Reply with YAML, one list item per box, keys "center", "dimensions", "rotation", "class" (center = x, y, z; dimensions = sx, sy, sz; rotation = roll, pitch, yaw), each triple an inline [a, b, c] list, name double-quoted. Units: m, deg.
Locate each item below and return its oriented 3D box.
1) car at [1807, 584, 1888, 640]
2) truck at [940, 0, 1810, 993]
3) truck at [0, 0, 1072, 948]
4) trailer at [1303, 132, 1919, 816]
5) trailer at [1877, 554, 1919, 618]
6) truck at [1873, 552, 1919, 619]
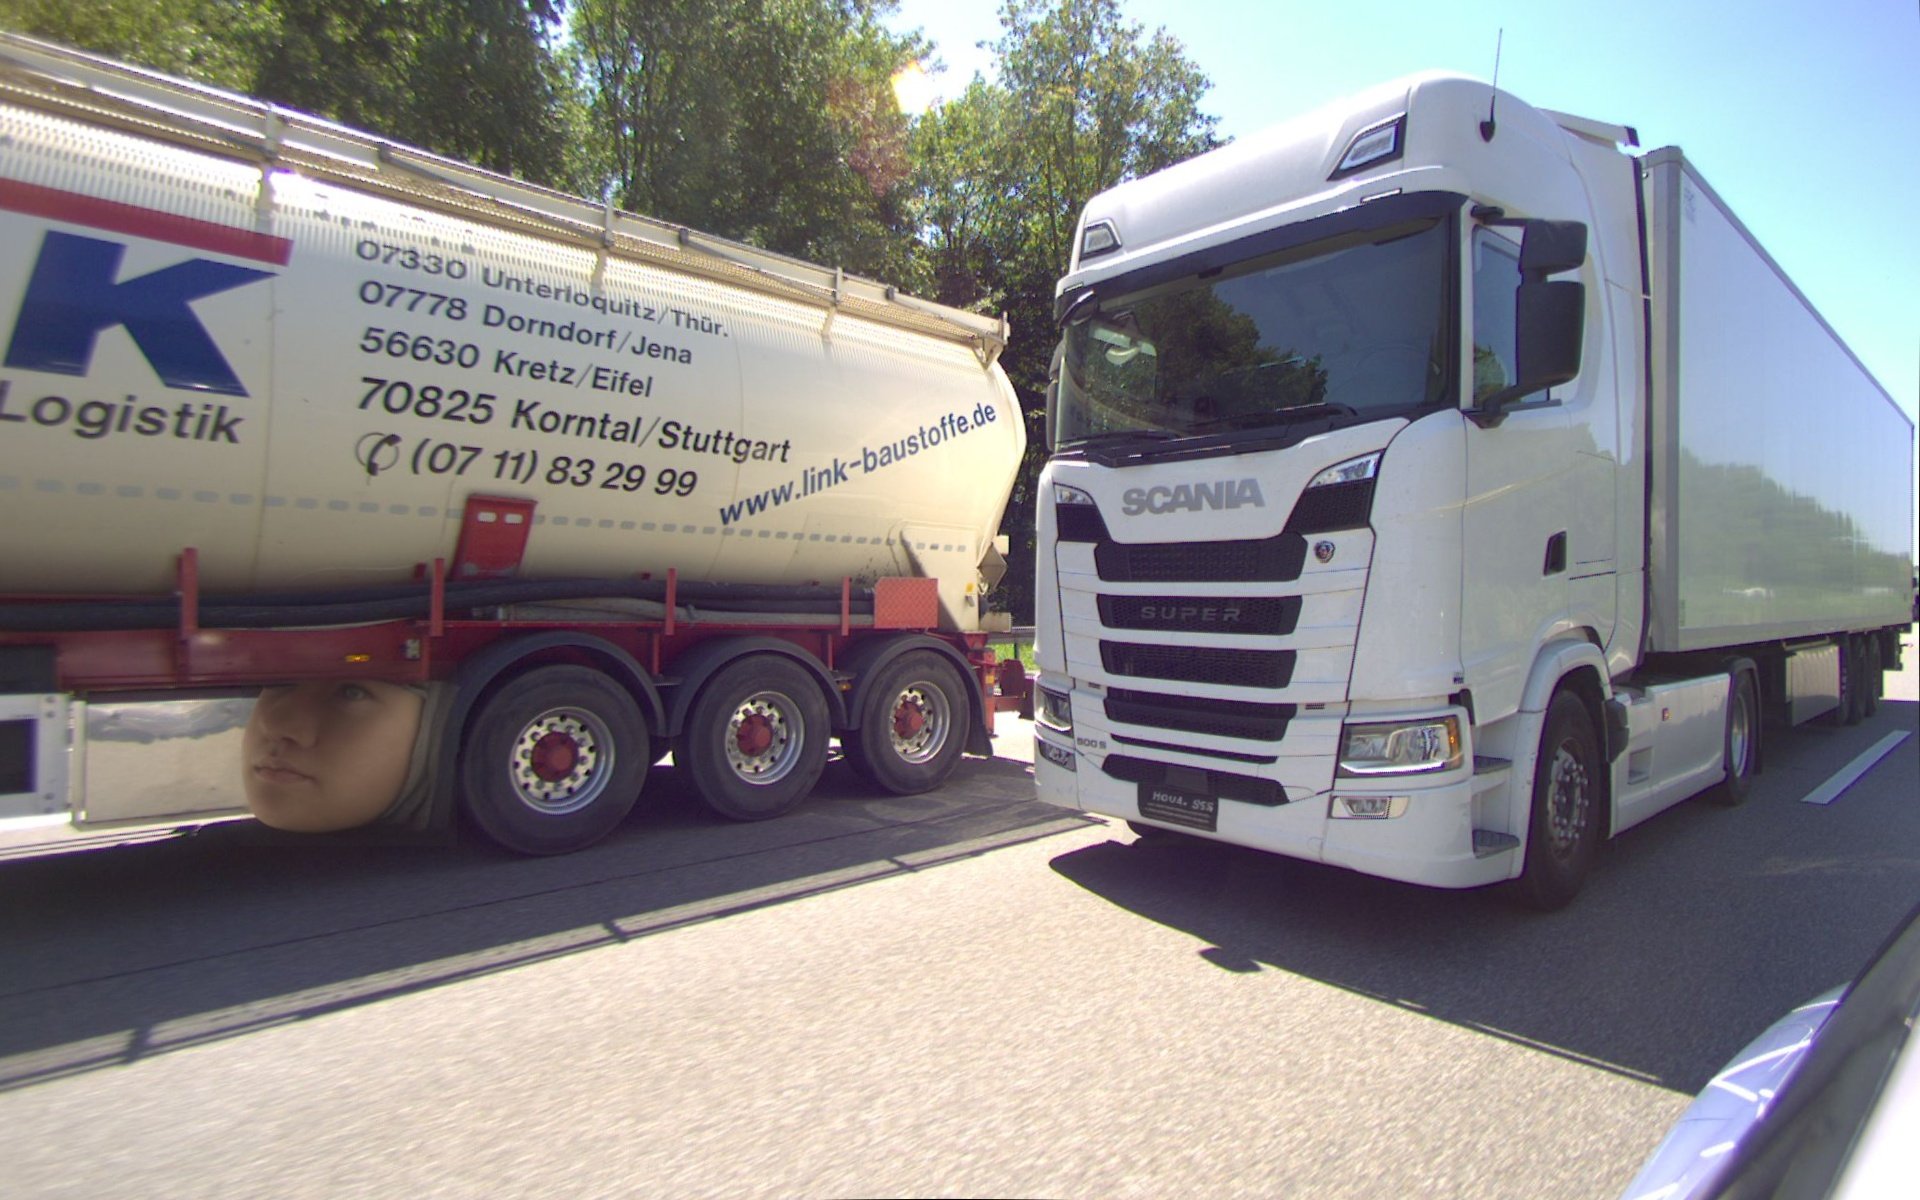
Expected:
- center: [34.181, 0.420, 38.942]
  dimensions: [5.429, 2.028, 1.857]
  rotation: [0, 0, -43]
  class: "car"
- center: [2.640, -0.814, 6.135]
  dimensions: [4.481, 4.210, 3.234]
  rotation: [0, 1, -42]
  class: "truck"
- center: [-3.811, -0.696, 5.572]
  dimensions: [10.357, 4.094, 2.447]
  rotation: [0, 0, -41]
  class: "truck"
- center: [8.508, -0.805, 11.512]
  dimensions: [12.140, 4.195, 3.228]
  rotation: [0, 1, -42]
  class: "trailer"
- center: [67.145, -0.939, 71.428]
  dimensions: [12.149, 4.257, 2.792]
  rotation: [0, 1, -44]
  class: "trailer"
- center: [61.972, -0.938, 66.340]
  dimensions: [4.918, 4.257, 2.792]
  rotation: [0, 1, -45]
  class: "truck"
